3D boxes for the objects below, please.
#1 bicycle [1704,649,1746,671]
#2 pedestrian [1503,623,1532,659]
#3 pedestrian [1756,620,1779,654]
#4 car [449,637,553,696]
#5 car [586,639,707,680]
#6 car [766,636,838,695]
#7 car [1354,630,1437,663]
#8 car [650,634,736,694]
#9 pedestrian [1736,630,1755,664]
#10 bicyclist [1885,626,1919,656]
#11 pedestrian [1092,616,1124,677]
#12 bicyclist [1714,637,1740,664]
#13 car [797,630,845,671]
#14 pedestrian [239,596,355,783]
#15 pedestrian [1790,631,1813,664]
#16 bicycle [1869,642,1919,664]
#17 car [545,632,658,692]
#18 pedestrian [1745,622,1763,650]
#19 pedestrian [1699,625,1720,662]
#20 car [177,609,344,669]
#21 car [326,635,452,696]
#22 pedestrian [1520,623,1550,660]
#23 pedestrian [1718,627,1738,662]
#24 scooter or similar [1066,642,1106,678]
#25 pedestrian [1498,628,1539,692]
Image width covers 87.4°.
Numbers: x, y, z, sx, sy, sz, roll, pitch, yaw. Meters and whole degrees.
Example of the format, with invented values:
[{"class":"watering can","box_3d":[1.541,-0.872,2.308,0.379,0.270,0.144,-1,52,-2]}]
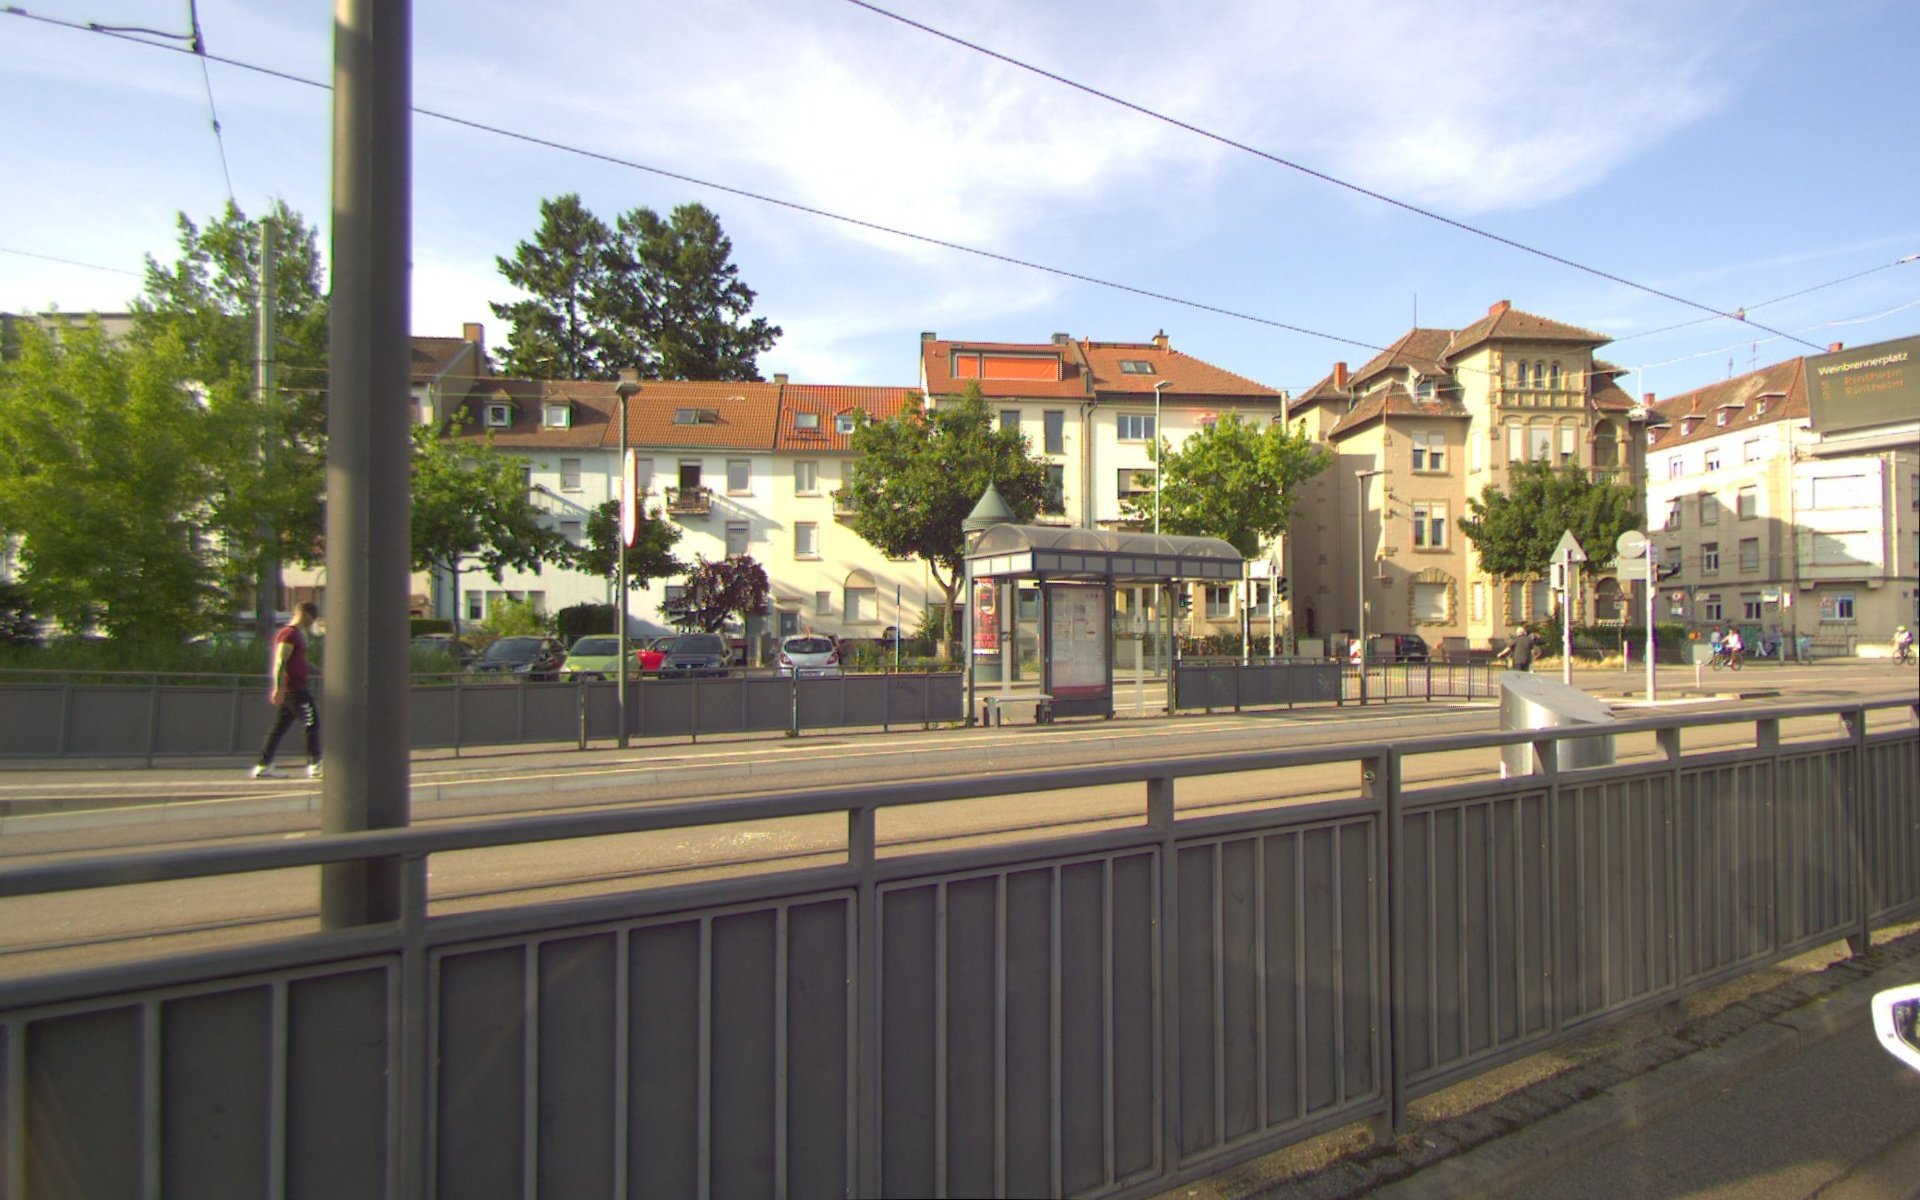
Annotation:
[{"class":"bicycle","box_3d":[30.469,2.378,40.005,1.660,0.845,0.525,1,-2,-19]},{"class":"pedestrian","box_3d":[24.762,1.809,44.629,0.768,1.572,0.831,0,-2,-8]},{"class":"pedestrian","box_3d":[48.798,2.218,60.701,0.773,2.040,0.775,0,-2,-15]},{"class":"car","box_3d":[-11.889,1.674,26.257,1.968,1.416,3.985,0,-2,-18]},{"class":"car","box_3d":[-11.235,2.120,36.251,3.927,1.416,1.836,0,-2,-9]},{"class":"car","box_3d":[-4.355,1.763,27.829,1.815,1.505,3.995,0,-2,-9]},{"class":"car","box_3d":[20.360,2.168,47.137,1.732,1.327,4.111,2,0,-7]},{"class":"car","box_3d":[-7.172,1.681,27.291,1.815,1.505,3.995,0,-2,-9]},{"class":"pedestrian","box_3d":[35.152,2.084,44.942,0.382,1.520,0.535,0,-2,-15]},{"class":"bicyclist","box_3d":[41.494,1.789,44.118,1.155,1.278,0.763,0,-2,-17]},{"class":"pedestrian","box_3d":[4.351,1.364,29.620,0.754,1.769,0.545,1,-2,-29]},{"class":"bicyclist","box_3d":[30.598,2.001,40.054,0.669,1.058,0.512,0,-2,-18]},{"class":"car","box_3d":[-6.068,2.195,44.211,1.962,1.684,3.997,0,-2,-6]},{"class":"pedestrian","box_3d":[-6.350,0.844,9.668,0.867,1.706,0.551,1,-5,-30]},{"class":"pedestrian","box_3d":[39.886,2.261,47.609,0.702,1.561,0.626,1,-2,-30]},{"class":"bicycle","box_3d":[41.406,2.332,44.103,2.949,0.926,0.784,0,-2,-17]},{"class":"car","box_3d":[-9.653,1.645,27.367,1.813,1.505,3.999,0,-2,-3]},{"class":"pedestrian","box_3d":[47.867,2.174,60.533,0.576,1.682,0.620,0,-2,-15]},{"class":"pedestrian","box_3d":[33.560,1.950,44.969,0.601,1.647,0.506,1,-2,-29]},{"class":"car","box_3d":[-18.665,1.047,27.052,1.813,1.505,3.999,0,-2,-3]},{"class":"car","box_3d":[-14.410,1.599,25.597,1.968,1.416,3.985,0,-2,-18]},{"class":"pedestrian","box_3d":[24.908,1.789,43.546,0.768,1.572,0.831,0,-2,-8]},{"class":"pedestrian","box_3d":[33.890,1.958,44.313,0.540,1.520,0.437,0,-2,-15]},{"class":"scooter or similar","box_3d":[3.634,1.724,29.072,1.009,1.001,0.554,1,-2,-25]},{"class":"pedestrian","box_3d":[14.671,1.568,26.394,0.778,1.667,0.757,-1,-2,16]}]
